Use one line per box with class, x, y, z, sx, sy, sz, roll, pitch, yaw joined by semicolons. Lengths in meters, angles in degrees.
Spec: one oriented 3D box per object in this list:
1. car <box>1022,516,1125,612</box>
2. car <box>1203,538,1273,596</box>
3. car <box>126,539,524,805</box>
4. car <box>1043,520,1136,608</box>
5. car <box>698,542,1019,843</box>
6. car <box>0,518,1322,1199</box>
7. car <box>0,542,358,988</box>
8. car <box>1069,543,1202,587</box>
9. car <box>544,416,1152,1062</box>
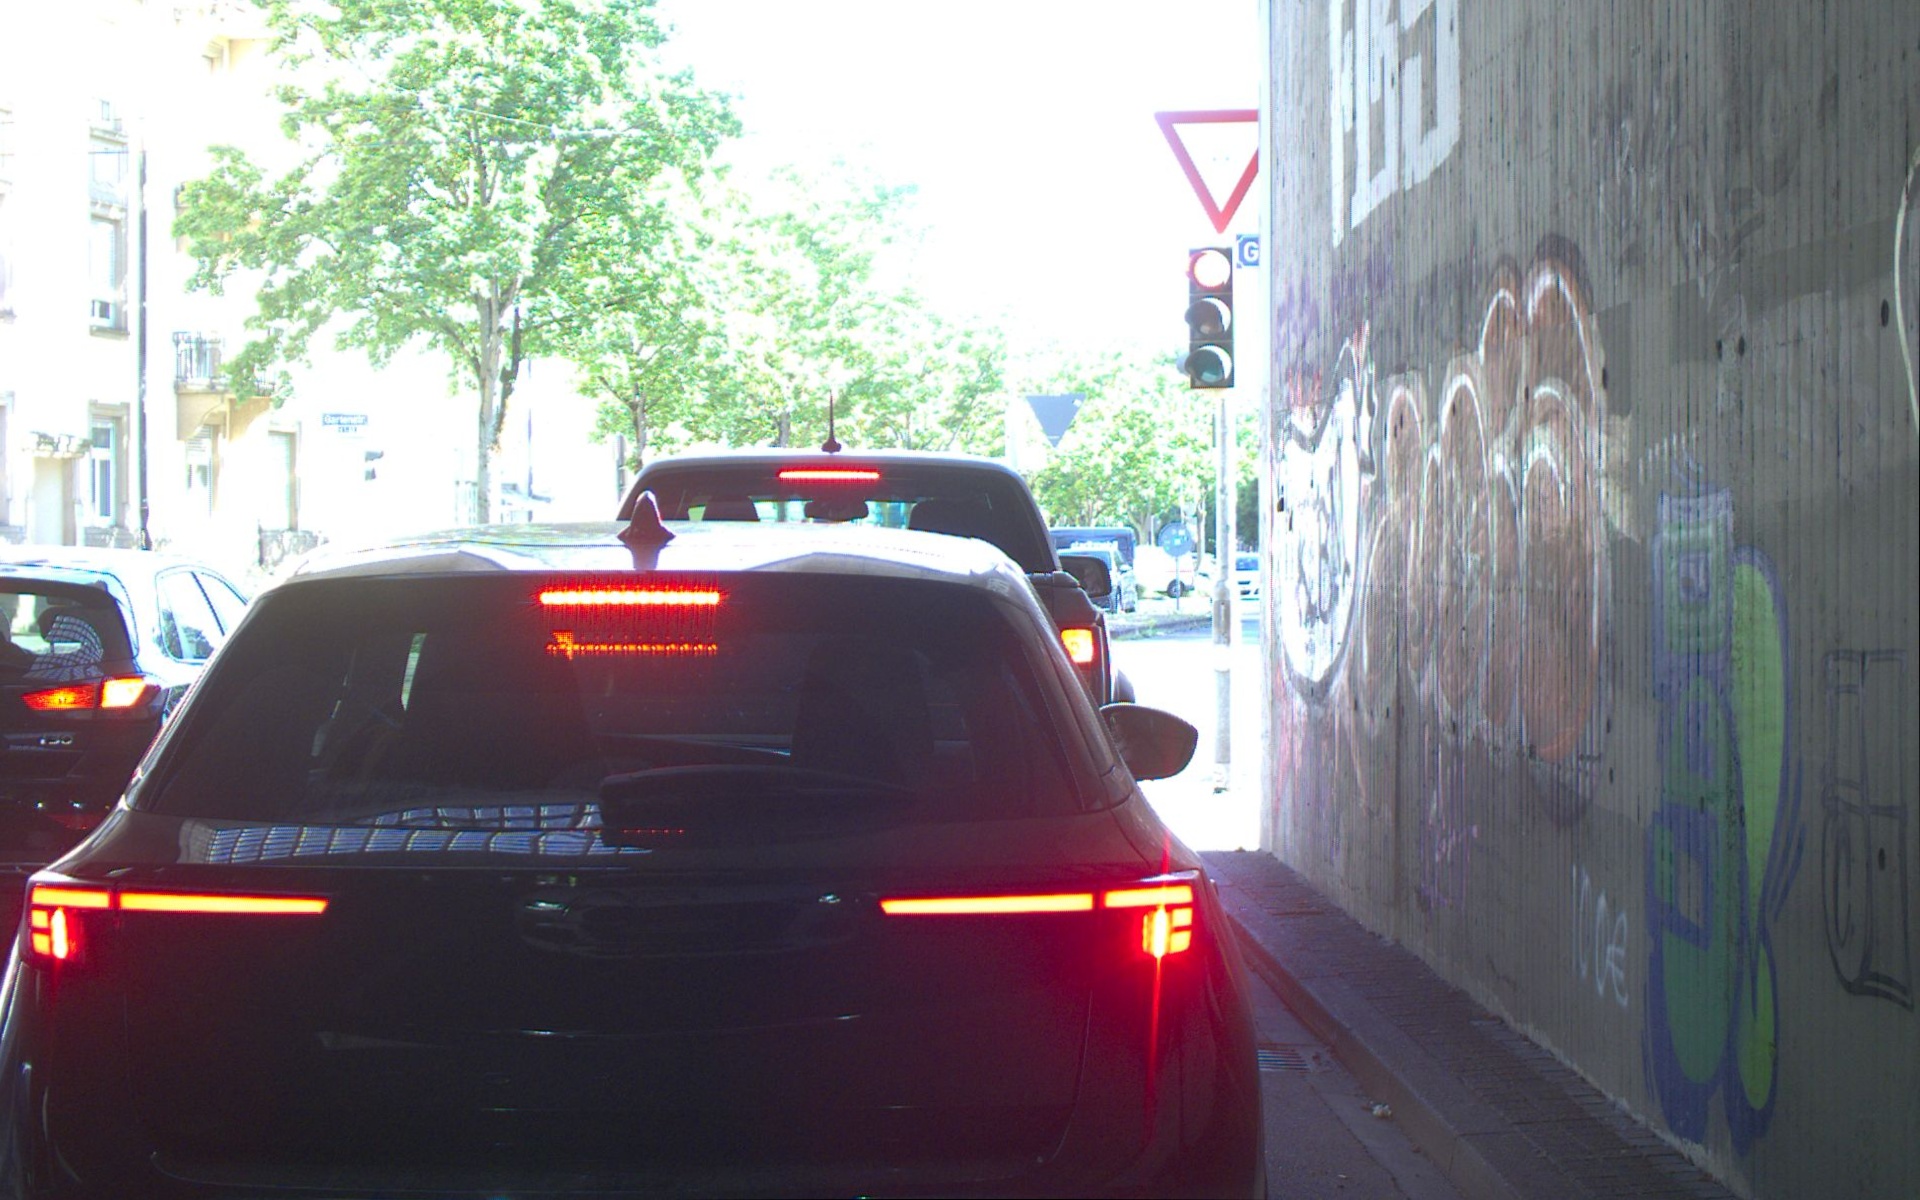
car;2.081;-0.657;62.214;1.754;1.661;3.944;1;1;3
car;8.249;-0.968;101.789;1.754;1.661;3.943;1;1;9
car;-3.775;0.368;21.031;1.762;1.475;3.844;0;1;-1
car;2.602;-0.711;68.333;1.754;1.661;3.944;1;1;3
car;-0.533;0.433;19.279;1.609;1.508;4.054;0;1;-1
car;-0.476;0.633;6.119;1.762;1.526;4.089;0;1;-1
car;-3.525;0.515;13.307;1.762;1.475;3.844;0;1;-1
car;6.833;-1.354;133.793;4.798;1.661;1.824;1;1;-21
car;-0.348;0.371;12.059;1.762;1.876;4.146;0;1;-1
